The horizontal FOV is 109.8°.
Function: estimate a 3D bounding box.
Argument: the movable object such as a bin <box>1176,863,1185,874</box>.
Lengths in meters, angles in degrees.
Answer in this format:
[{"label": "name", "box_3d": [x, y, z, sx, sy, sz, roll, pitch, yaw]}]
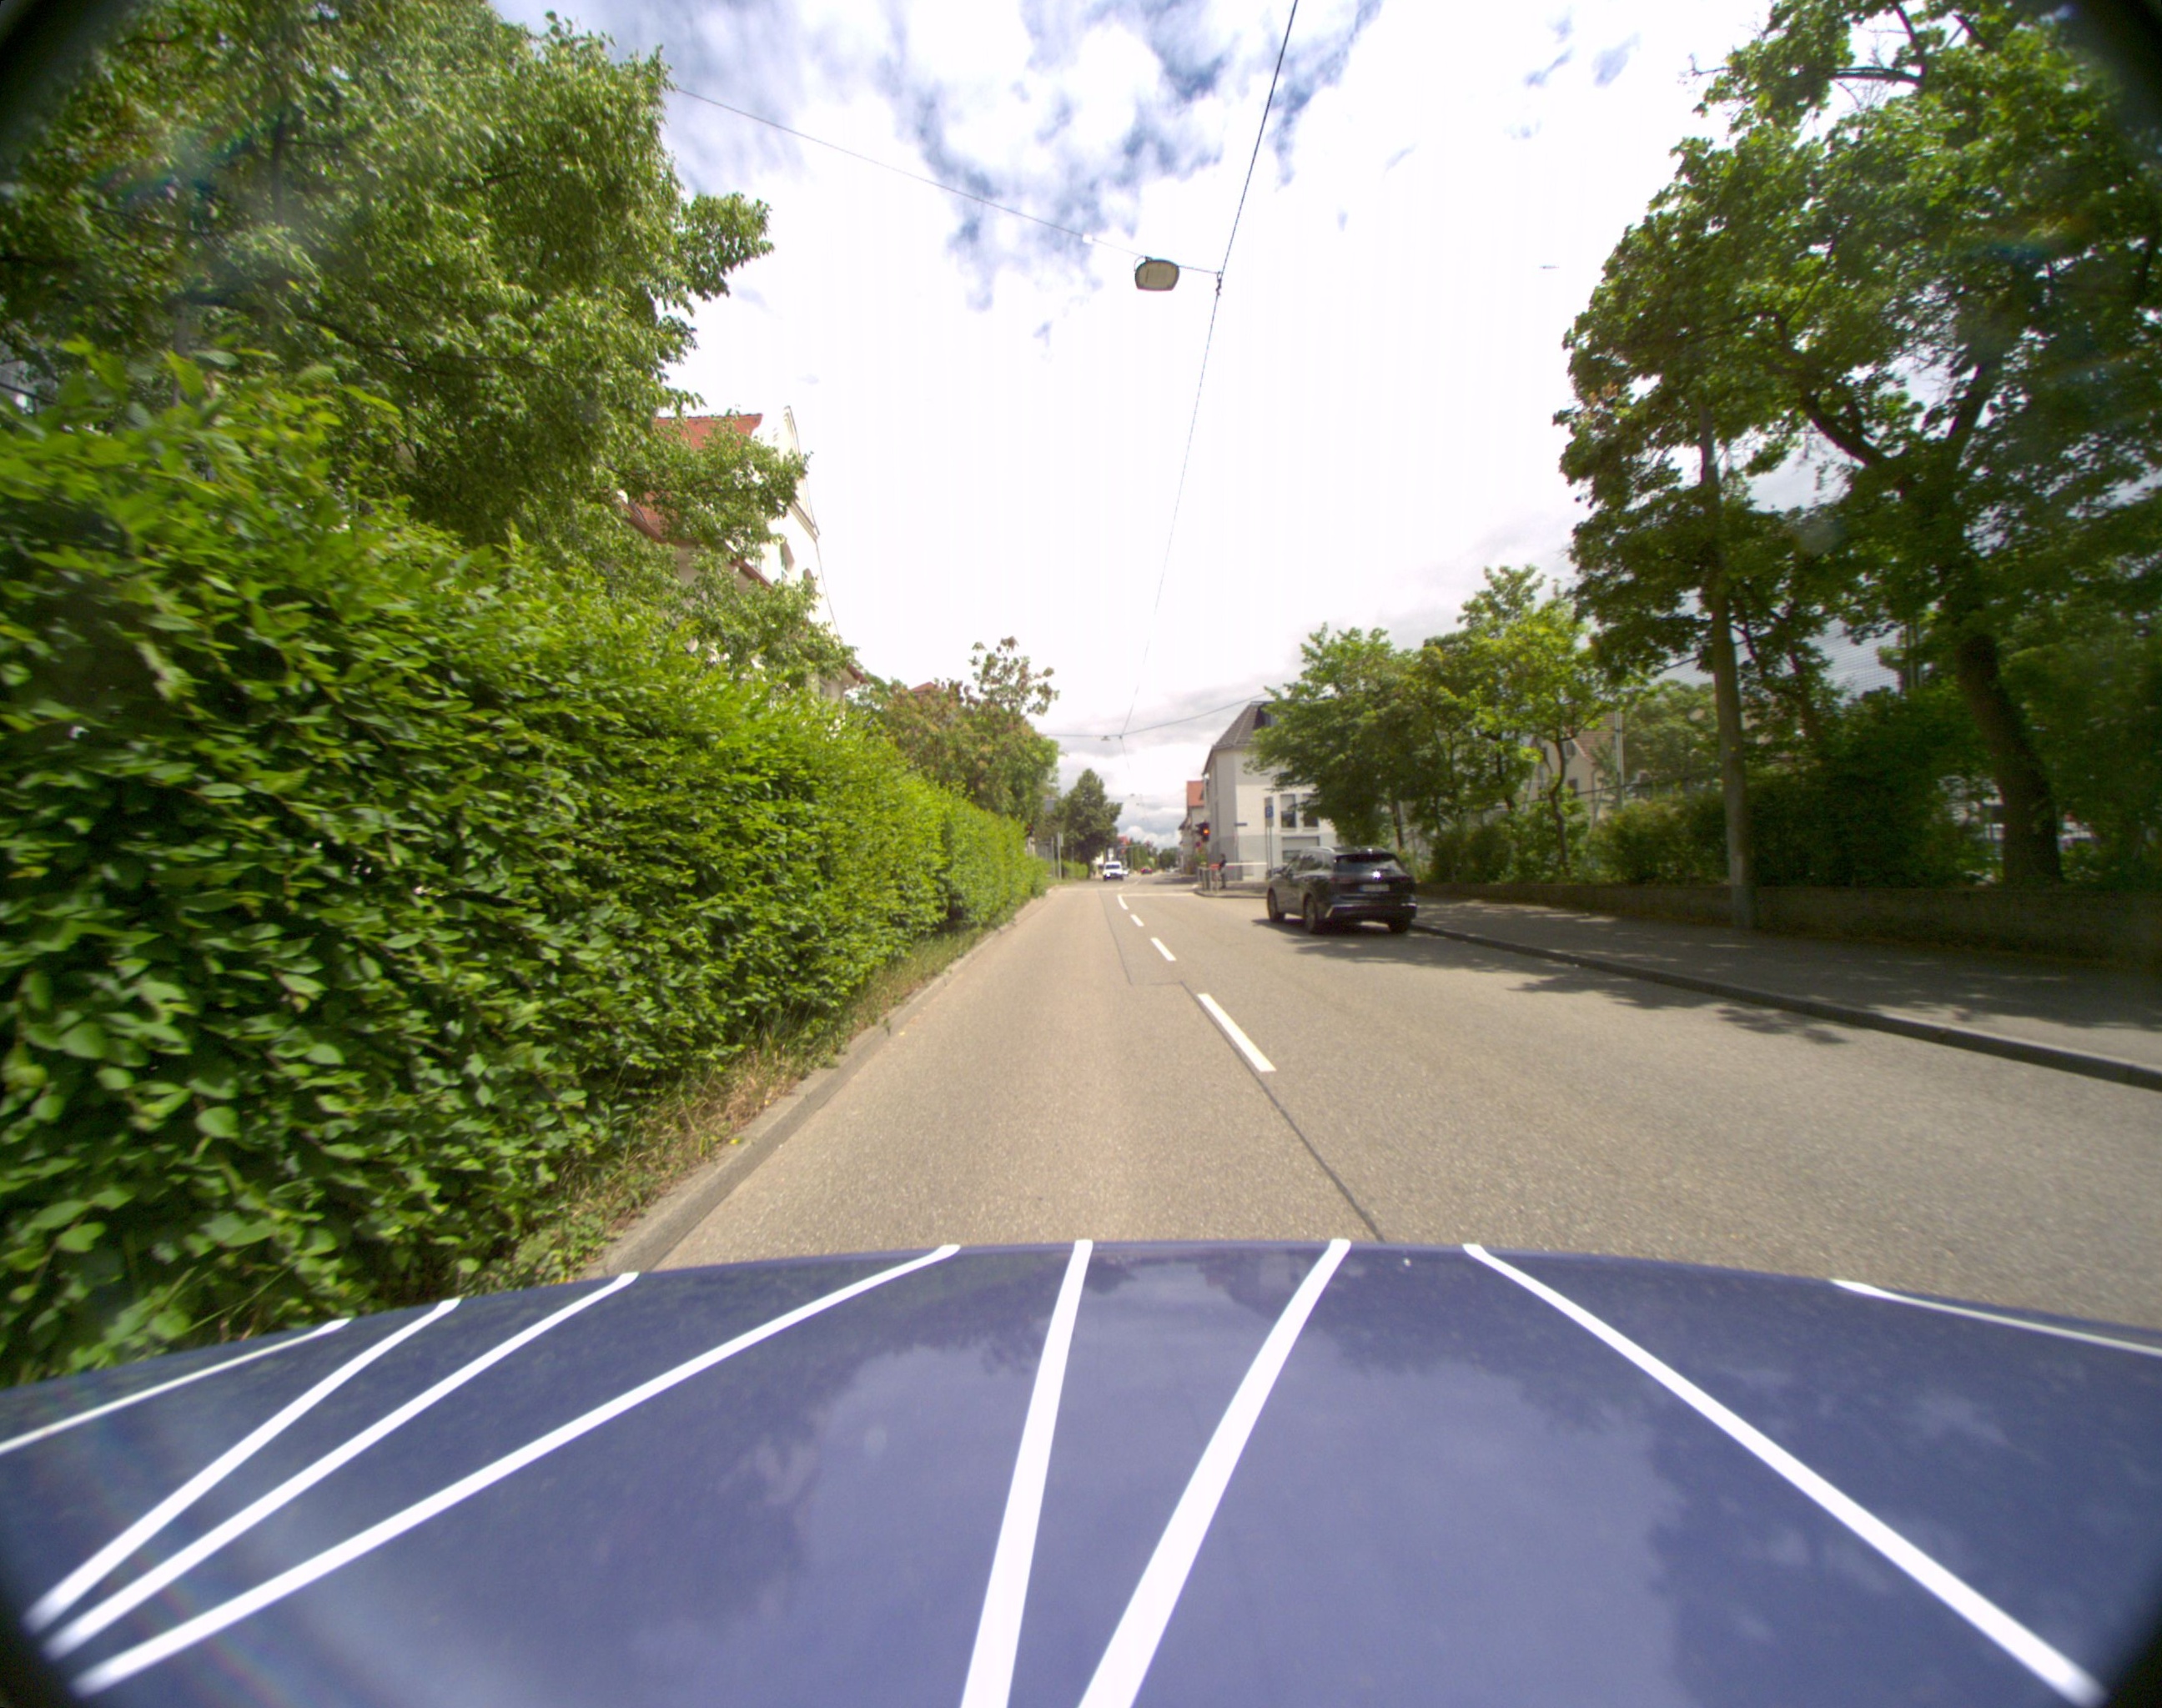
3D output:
[{"label": "movable object such as a bin", "box_3d": [12.839, 1.906, 97.991, 0.766, 1.156, 0.801, -18, 9, 6]}]

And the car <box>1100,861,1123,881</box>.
[{"label": "car", "box_3d": [2.876, 1.569, 70.815, 1.893, 1.717, 4.295, -3, -1, 4]}]

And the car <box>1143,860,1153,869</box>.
[{"label": "car", "box_3d": [12.302, 1.886, 139.302, 1.794, 1.477, 4.003, -4, -2, 6]}]

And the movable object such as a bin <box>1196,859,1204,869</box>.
[{"label": "movable object such as a bin", "box_3d": [12.581, 1.083, 80.306, 0.642, 1.069, 0.661, -3, 0, 3]}]

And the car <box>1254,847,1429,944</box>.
[{"label": "car", "box_3d": [5.036, 0.756, 15.480, 1.800, 1.600, 4.645, -3, -1, -2]}]

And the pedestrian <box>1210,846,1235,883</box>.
[{"label": "pedestrian", "box_3d": [6.376, 0.481, 34.166, 0.774, 1.588, 0.670, -3, 0, -35]}]

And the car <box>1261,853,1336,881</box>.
[{"label": "car", "box_3d": [13.221, 0.785, 46.351, 3.997, 1.467, 1.859, -2, -3, 0]}]

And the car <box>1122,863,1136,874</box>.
[{"label": "car", "box_3d": [7.046, 2.180, 111.326, 1.794, 1.477, 4.003, -4, -2, 6]}]
